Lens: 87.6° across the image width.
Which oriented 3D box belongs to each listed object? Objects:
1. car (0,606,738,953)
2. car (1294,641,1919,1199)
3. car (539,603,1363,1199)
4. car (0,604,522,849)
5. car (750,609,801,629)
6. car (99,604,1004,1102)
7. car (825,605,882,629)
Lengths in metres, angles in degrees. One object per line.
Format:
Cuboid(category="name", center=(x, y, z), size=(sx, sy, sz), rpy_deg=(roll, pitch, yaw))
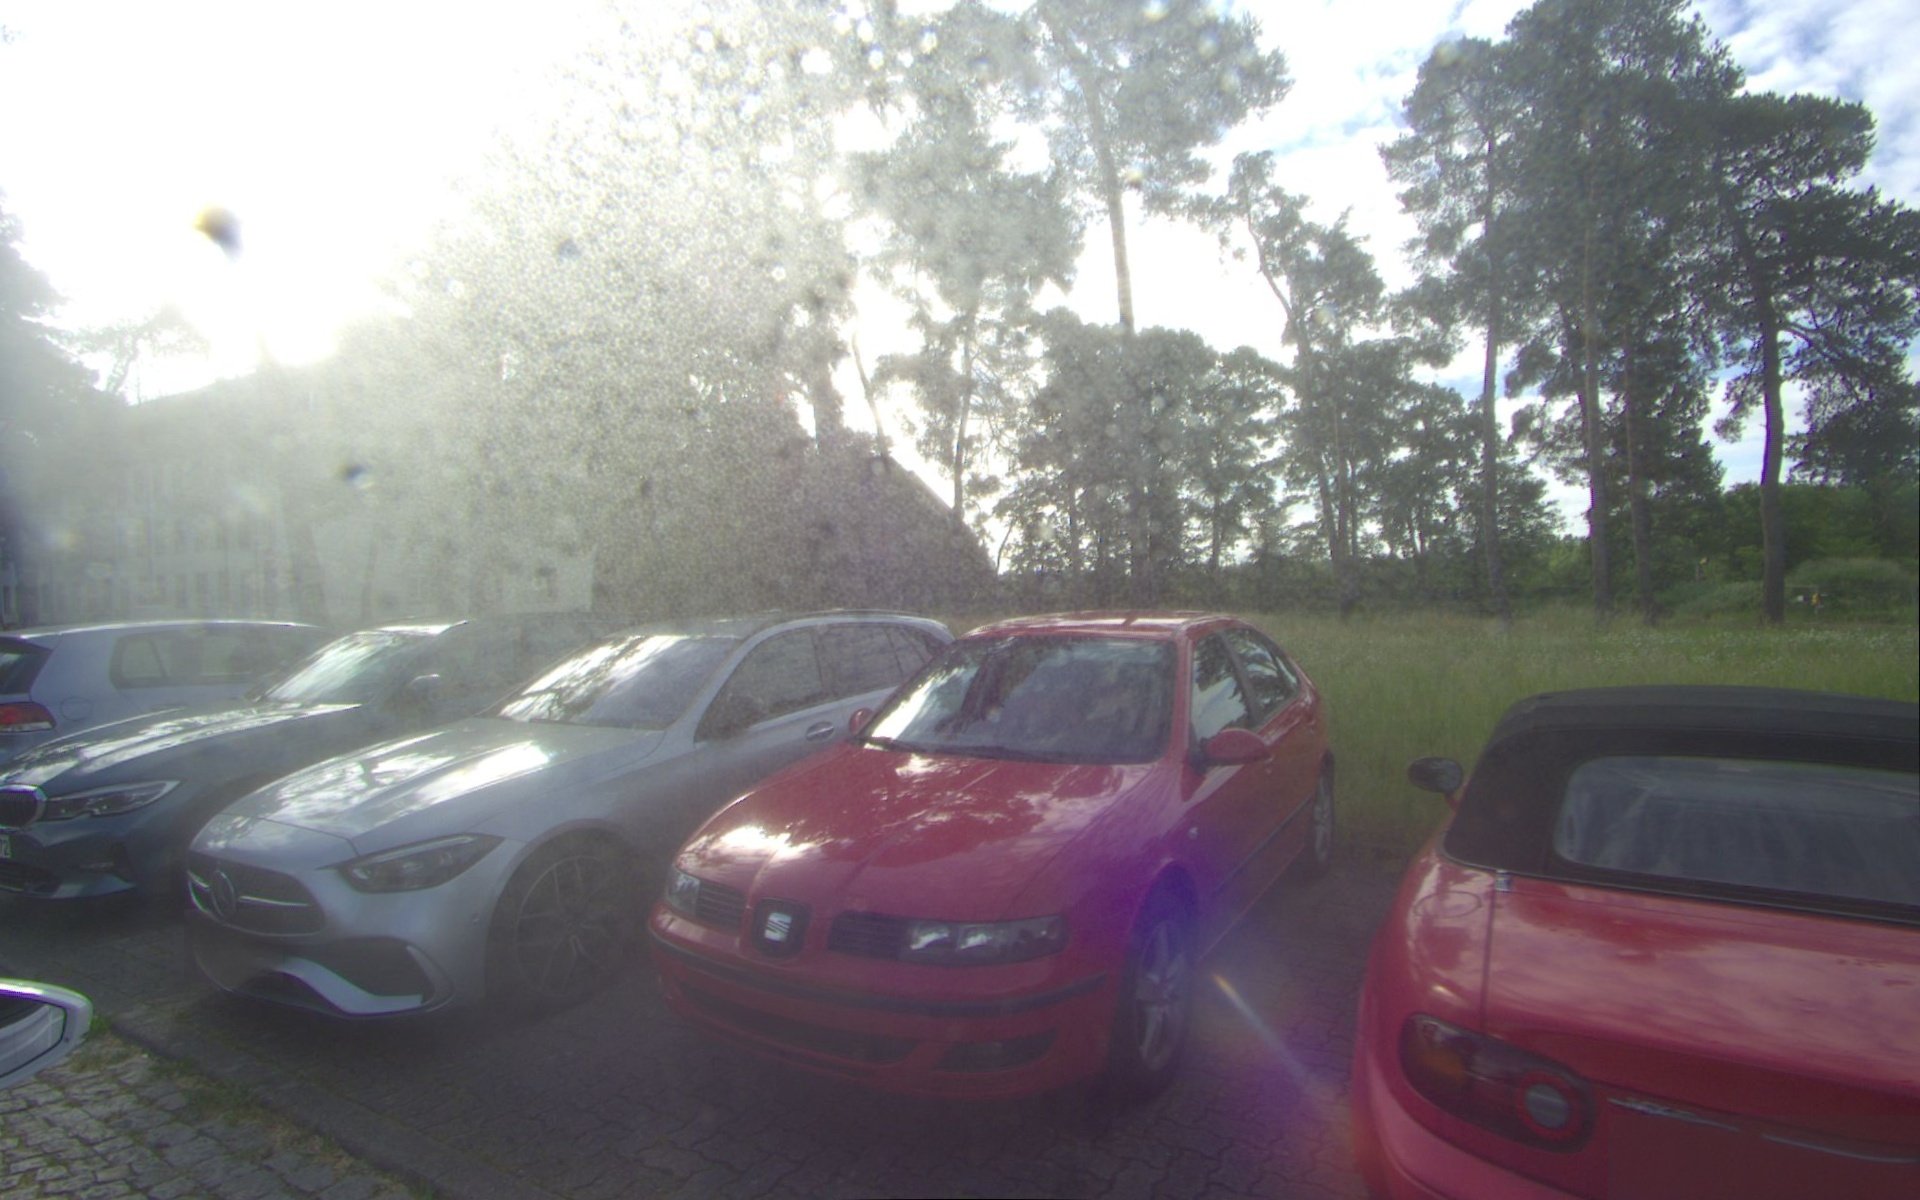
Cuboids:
Cuboid(category="car", center=(-3.729, 0.823, 6.861), size=(1.780, 1.503, 4.507), rpy_deg=(-1, 0, 29))
Cuboid(category="car", center=(2.240, 0.842, 2.801), size=(1.586, 1.303, 3.537), rpy_deg=(-2, -1, 34))
Cuboid(category="car", center=(0.485, 0.777, 4.445), size=(1.695, 1.441, 4.099), rpy_deg=(-2, -1, 32))
Cuboid(category="car", center=(-5.855, 0.818, 8.312), size=(1.618, 1.490, 3.835), rpy_deg=(0, 1, 31))
Cuboid(category="car", center=(-13.859, 1.428, 75.480), size=(1.541, 1.416, 3.982), rpy_deg=(-1, -2, 31))
Cuboid(category="car", center=(-1.543, 0.793, 5.369), size=(1.741, 1.448, 4.318), rpy_deg=(-1, 1, 30))
Cuboid(category="car", center=(-7.455, 1.194, 70.146), size=(3.923, 1.622, 1.999), rpy_deg=(-1, 0, -6))
